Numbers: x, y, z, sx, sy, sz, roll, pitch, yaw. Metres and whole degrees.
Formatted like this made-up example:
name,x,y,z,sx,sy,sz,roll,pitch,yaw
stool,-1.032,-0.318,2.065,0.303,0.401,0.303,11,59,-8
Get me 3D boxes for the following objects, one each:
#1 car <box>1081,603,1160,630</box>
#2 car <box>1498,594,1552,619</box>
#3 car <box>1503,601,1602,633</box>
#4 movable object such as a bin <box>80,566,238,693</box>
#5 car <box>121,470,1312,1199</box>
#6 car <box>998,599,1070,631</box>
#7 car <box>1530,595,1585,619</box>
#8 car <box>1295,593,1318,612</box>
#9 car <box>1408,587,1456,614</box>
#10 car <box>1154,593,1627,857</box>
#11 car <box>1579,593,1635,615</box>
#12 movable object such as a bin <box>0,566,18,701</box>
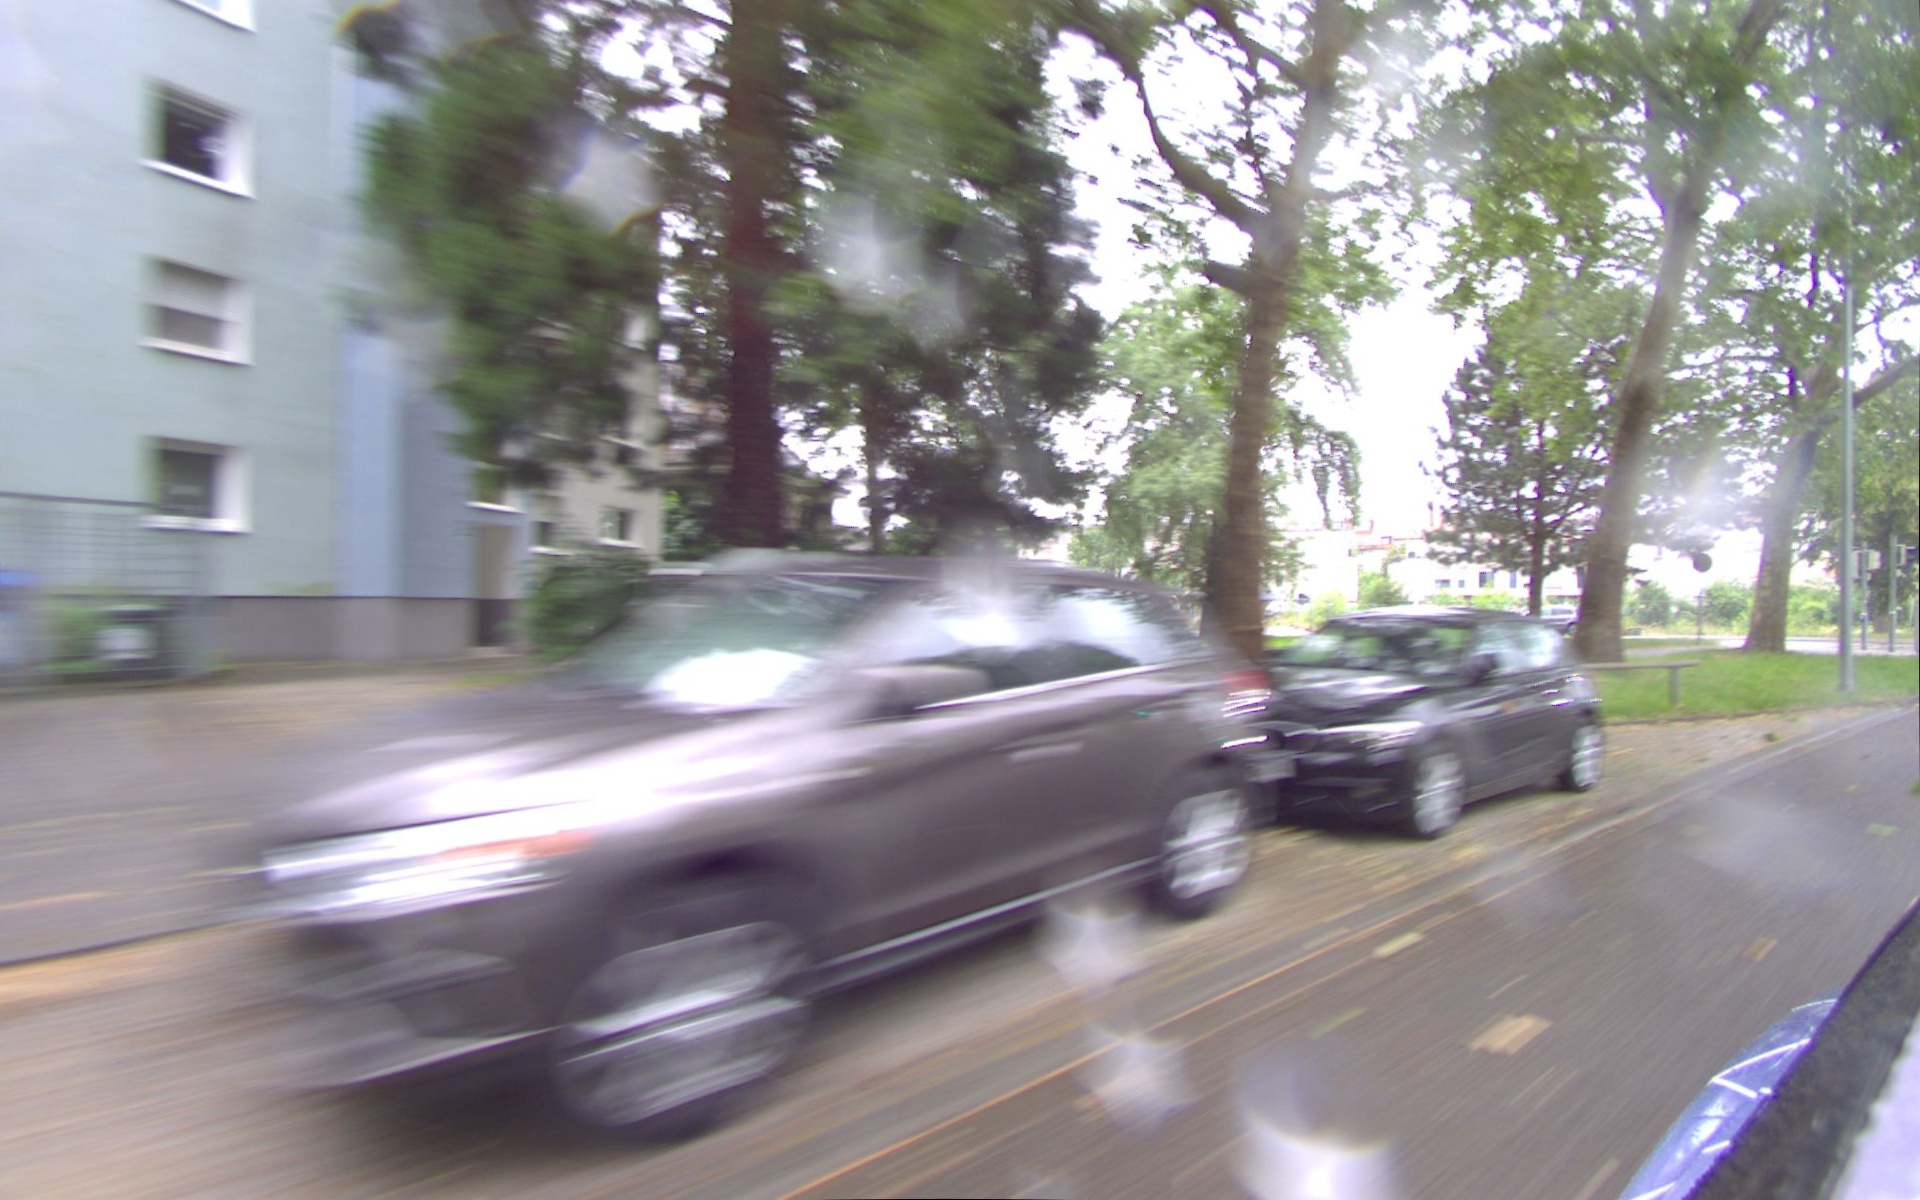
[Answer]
name,x,y,z,sx,sy,sz,roll,pitch,yaw
car,9.305,0.945,58.621,4.457,1.568,1.974,0,-1,11
car,44.434,0.515,79.697,1.962,1.883,3.999,0,-1,0
car,32.164,0.900,55.057,4.236,1.676,1.854,0,-1,11
movable object such as a bin,-10.330,0.354,13.078,1.152,1.491,1.211,3,1,29
car,-0.493,0.538,4.137,4.382,1.640,1.916,-2,1,-45
car,4.385,0.877,59.699,4.023,1.833,1.876,0,-1,11
car,46.952,0.560,79.639,1.962,1.883,3.999,0,-1,0
car,36.317,0.319,106.111,1.645,1.938,3.988,0,-1,10
car,37.760,0.062,81.044,1.962,2.039,3.998,0,-1,1
car,3.300,0.691,7.358,4.077,1.408,1.551,1,-1,-41
car,51.148,0.306,80.109,1.873,1.705,3.998,0,-1,1
movable object such as a bin,-11.377,0.346,11.095,1.152,1.491,1.211,3,1,29
